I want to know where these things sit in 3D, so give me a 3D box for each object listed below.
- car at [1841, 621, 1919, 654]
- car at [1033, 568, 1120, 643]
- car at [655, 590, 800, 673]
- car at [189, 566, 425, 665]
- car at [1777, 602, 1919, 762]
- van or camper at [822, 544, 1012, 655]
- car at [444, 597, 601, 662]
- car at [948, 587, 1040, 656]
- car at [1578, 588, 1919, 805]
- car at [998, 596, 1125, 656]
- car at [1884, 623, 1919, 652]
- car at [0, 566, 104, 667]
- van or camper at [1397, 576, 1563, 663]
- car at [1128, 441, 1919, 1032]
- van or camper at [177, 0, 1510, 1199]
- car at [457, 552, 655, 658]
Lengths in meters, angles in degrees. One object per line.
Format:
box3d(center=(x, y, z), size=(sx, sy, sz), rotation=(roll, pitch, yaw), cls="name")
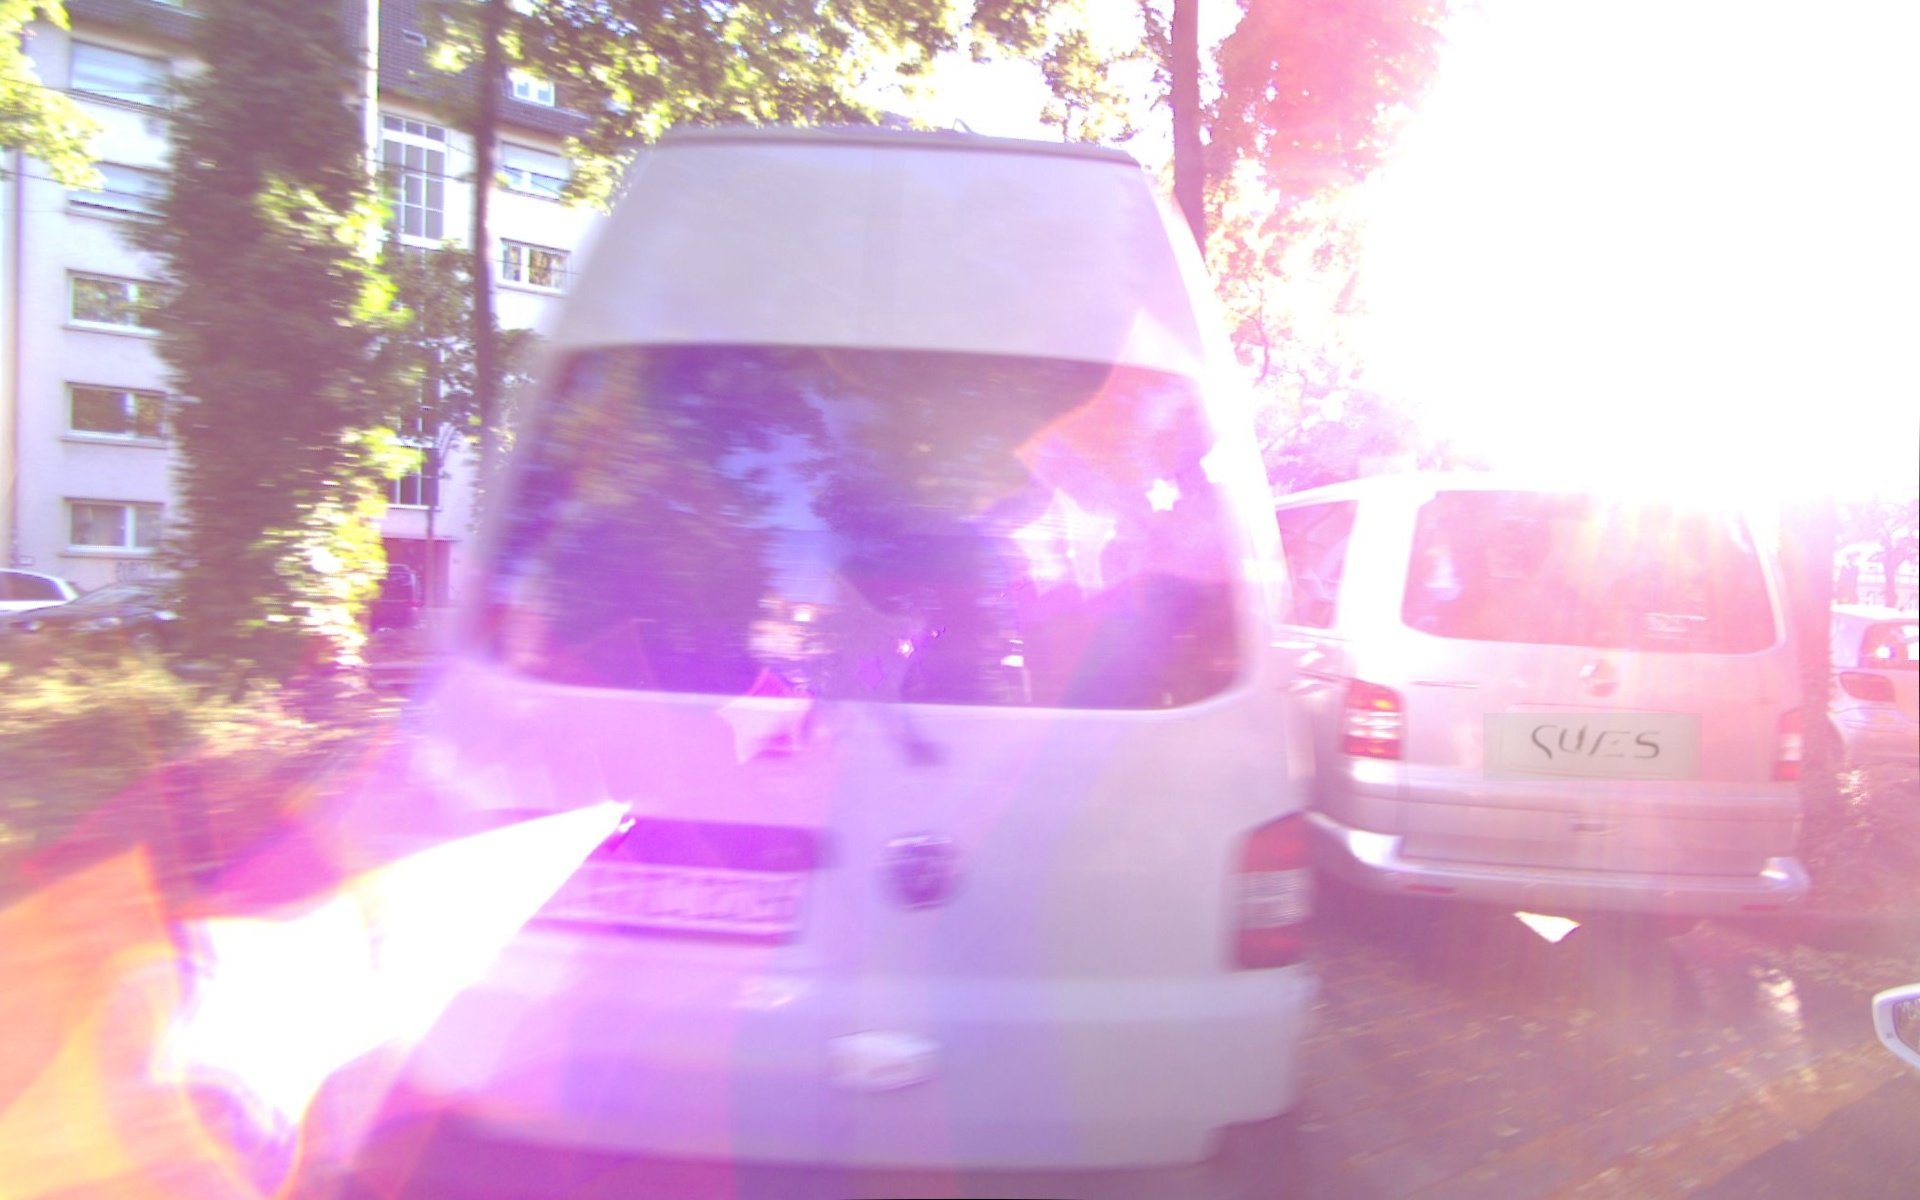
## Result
box3d(center=(43.357, 1.724, 46.566), size=(1.674, 1.399, 3.738), rotation=(1, 0, -1), cls="car")
box3d(center=(2.747, 0.151, 24.074), size=(1.868, 1.603, 4.327), rotation=(1, -1, 5), cls="car")
box3d(center=(-4.343, 0.565, 19.377), size=(1.768, 1.400, 4.001), rotation=(1, -1, 1), cls="car")
box3d(center=(-14.705, 0.315, 22.941), size=(4.364, 2.021, 1.842), rotation=(1, 3, -29), cls="car")
box3d(center=(10.230, 0.887, 9.689), size=(1.789, 1.458, 3.826), rotation=(3, 3, 7), cls="car")
box3d(center=(-1.288, 0.032, 30.912), size=(5.448, 3.151, 2.065), rotation=(2, 1, -29), cls="van or camper")
box3d(center=(-10.940, 0.699, 25.119), size=(3.466, 1.423, 1.842), rotation=(1, 3, -29), cls="car")
box3d(center=(0.882, 0.551, 23.072), size=(1.868, 1.403, 4.328), rotation=(1, -3, 5), cls="car")
box3d(center=(7.782, 0.751, 9.390), size=(1.789, 1.514, 3.550), rotation=(3, 3, 2), cls="car")
box3d(center=(3.411, 0.837, 33.727), size=(3.869, 1.807, 1.842), rotation=(1, 3, -29), cls="car")
box3d(center=(48.053, 1.889, 49.387), size=(1.693, 1.399, 3.737), rotation=(1, 0, -2), cls="car")
box3d(center=(-14.656, 0.214, 14.227), size=(1.738, 1.446, 3.998), rotation=(2, 0, -3), cls="car")
box3d(center=(15.932, 0.588, 31.225), size=(2.262, 2.402, 5.552), rotation=(1, -1, 0), cls="van or camper")
box3d(center=(2.404, 0.397, 6.025), size=(2.004, 2.004, 4.886), rotation=(3, 2, 1), cls="car")
box3d(center=(-0.225, 0.086, 4.028), size=(2.005, 2.504, 4.885), rotation=(3, 2, 0), cls="van or camper")
box3d(center=(-7.145, 0.105, 18.234), size=(1.703, 1.669, 4.002), rotation=(1, -1, 4), cls="car")
